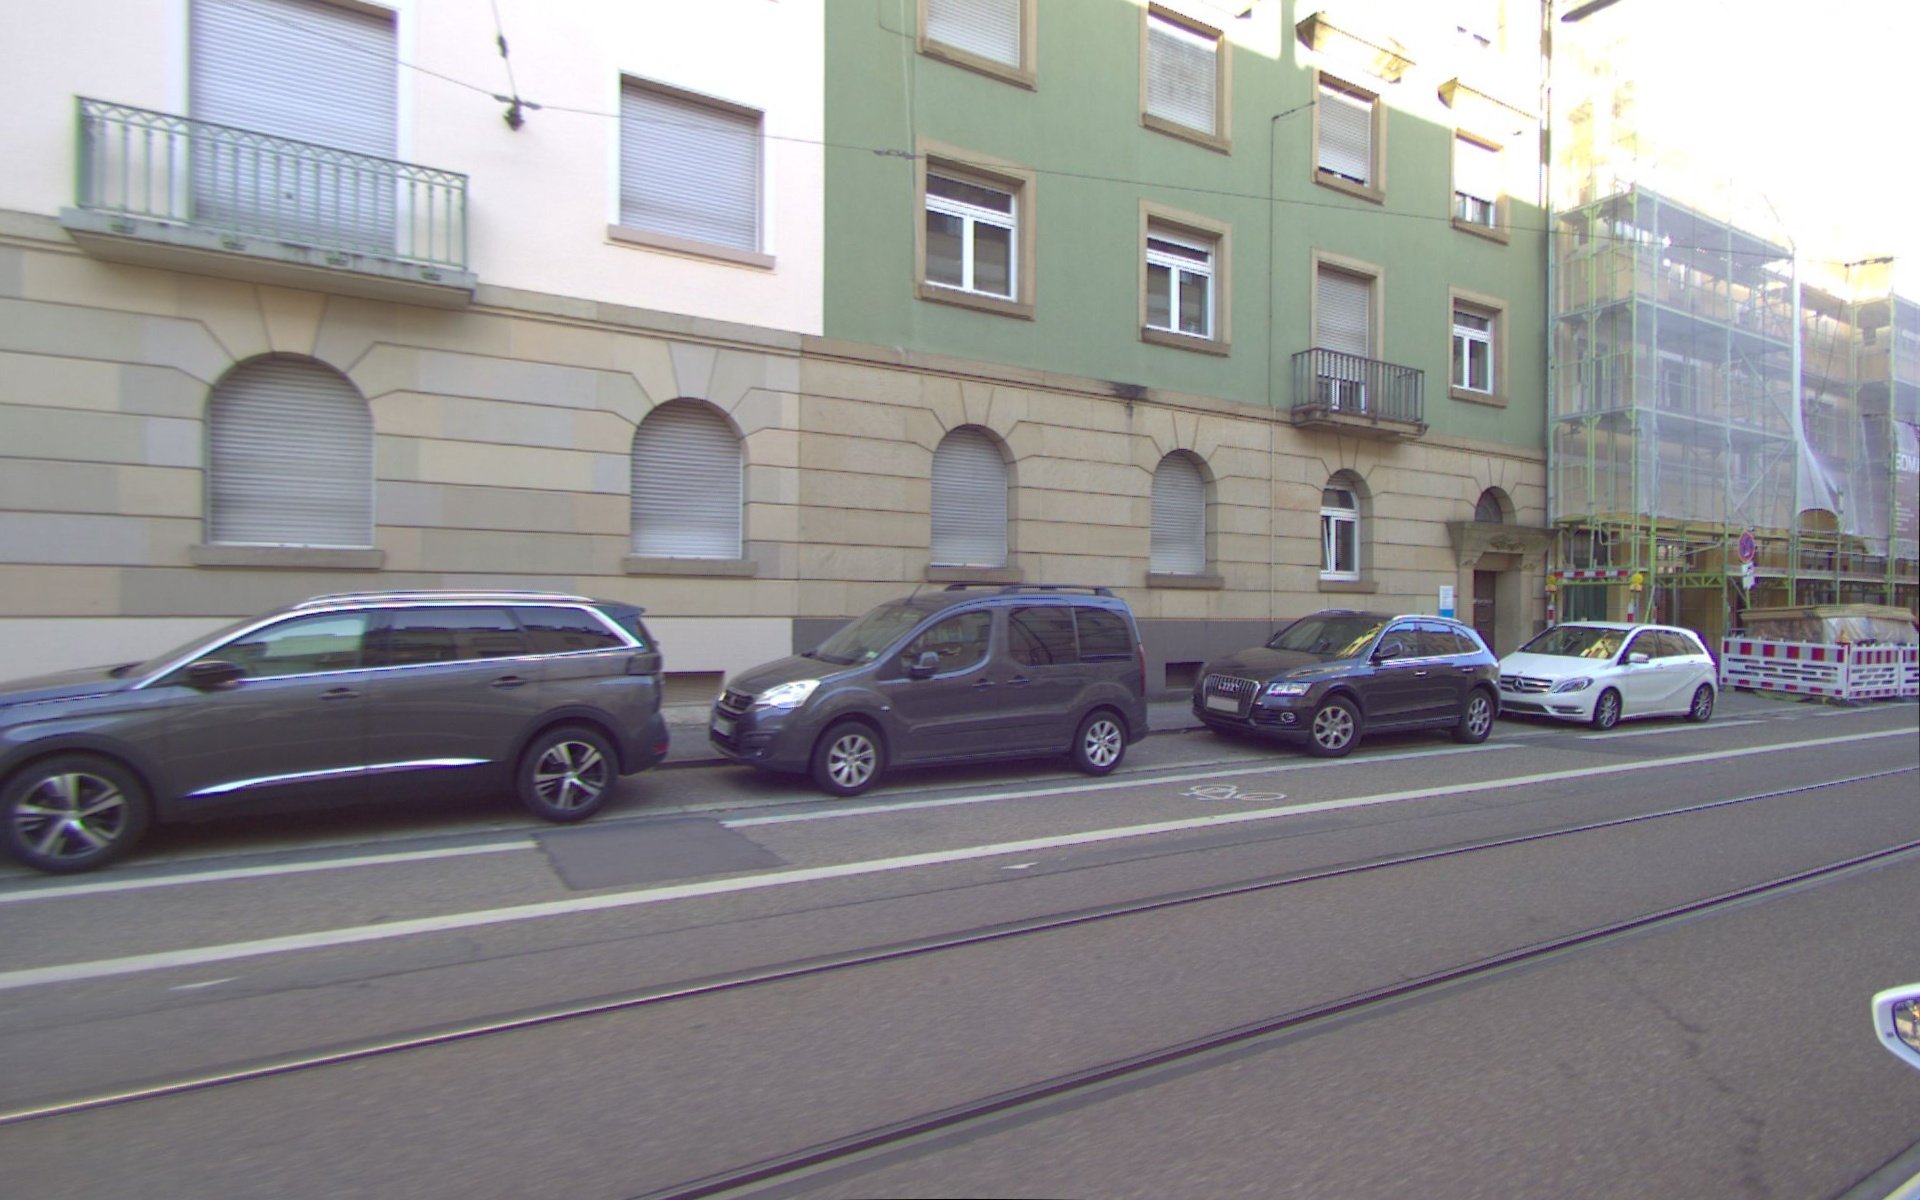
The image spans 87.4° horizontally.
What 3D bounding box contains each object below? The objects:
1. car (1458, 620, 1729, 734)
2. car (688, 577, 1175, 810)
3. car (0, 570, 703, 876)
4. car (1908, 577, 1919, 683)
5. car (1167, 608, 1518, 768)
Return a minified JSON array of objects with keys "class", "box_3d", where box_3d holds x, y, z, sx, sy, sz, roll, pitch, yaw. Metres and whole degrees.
[{"class":"car","box_3d":[10.027,1.110,15.840,4.333,1.523,1.710,1,1,-29]},{"class":"car","box_3d":[-0.206,0.750,9.861,4.473,1.840,1.775,1,1,-29]},{"class":"car","box_3d":[-4.412,0.690,7.316,4.616,1.713,1.773,1,1,-32]},{"class":"car","box_3d":[25.238,0.722,24.362,4.925,2.508,2.133,0,0,-32]},{"class":"car","box_3d":[4.933,0.969,12.745,4.558,1.649,1.773,1,1,-32]}]
